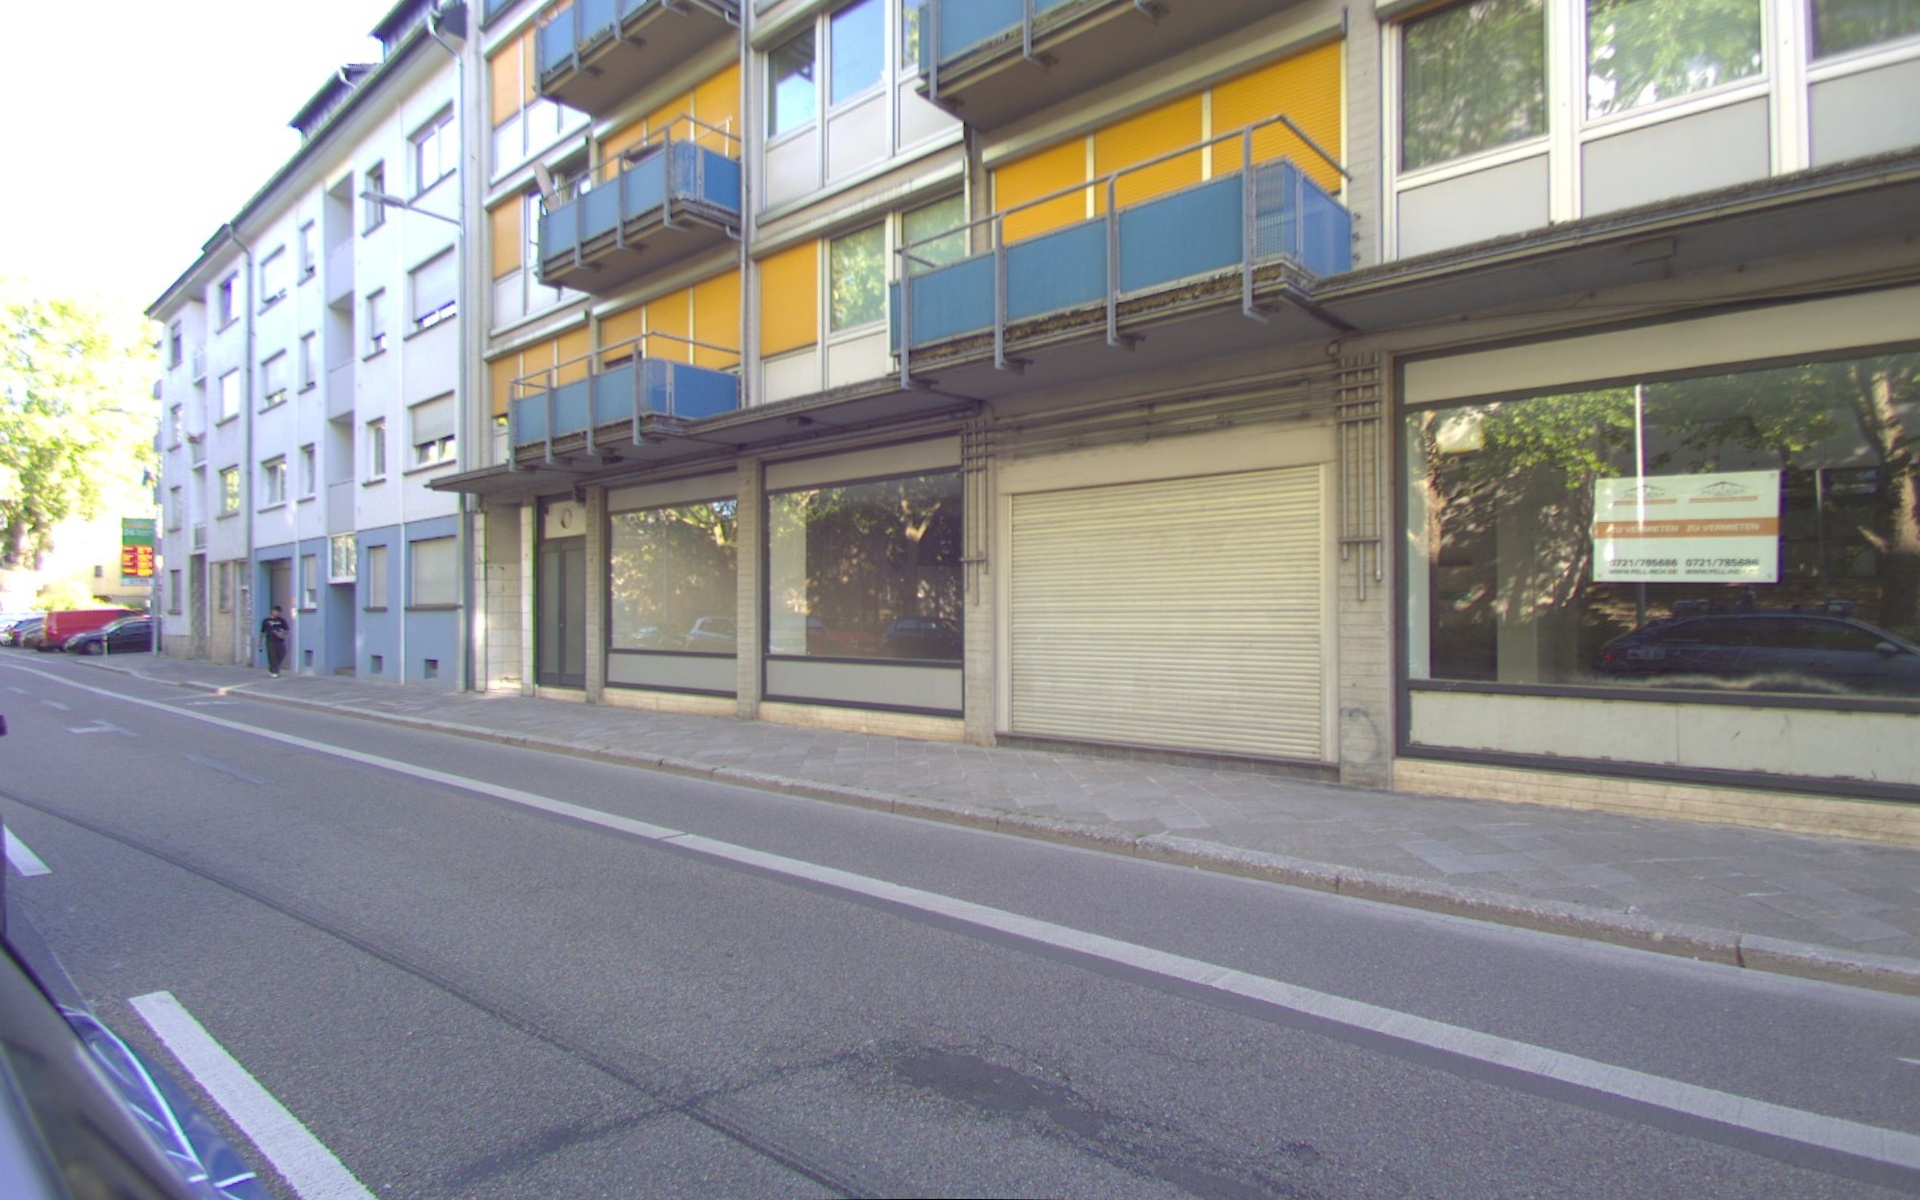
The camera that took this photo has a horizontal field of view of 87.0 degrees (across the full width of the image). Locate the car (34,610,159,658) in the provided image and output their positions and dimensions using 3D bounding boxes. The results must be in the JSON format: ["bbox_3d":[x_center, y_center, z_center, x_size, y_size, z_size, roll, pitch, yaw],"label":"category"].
[{"bbox_3d":[-40.572,1.556,47.625,1.817,1.933,4.202,-1,1,40],"label":"car"}]

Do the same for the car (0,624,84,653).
[{"bbox_3d":[-55.882,2.296,61.204,1.652,1.480,4.201,-1,1,41],"label":"car"}]

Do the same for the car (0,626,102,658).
[{"bbox_3d":[-50.468,2.290,56.111,1.652,1.480,4.201,-1,1,41],"label":"car"}]

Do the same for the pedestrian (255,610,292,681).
[{"bbox_3d":[-16.781,1.096,24.731,0.655,1.708,0.604,-2,-1,41],"label":"pedestrian"}]

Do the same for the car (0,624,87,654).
[{"bbox_3d":[-54.500,2.276,59.796,1.652,1.480,4.201,-1,1,41],"label":"car"}]

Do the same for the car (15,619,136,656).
[{"bbox_3d":[-42.760,1.788,49.021,1.652,1.480,4.201,-1,1,41],"label":"car"}]

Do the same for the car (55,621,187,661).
[{"bbox_3d":[-36.498,1.742,44.099,1.652,1.411,4.201,-1,1,41],"label":"car"}]

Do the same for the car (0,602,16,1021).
[{"bbox_3d":[-5.648,0.796,4.410,4.300,1.510,1.826,-1,-1,41],"label":"car"}]

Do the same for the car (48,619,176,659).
[{"bbox_3d":[-38.191,1.729,45.663,1.652,1.480,4.201,-1,1,41],"label":"car"}]
